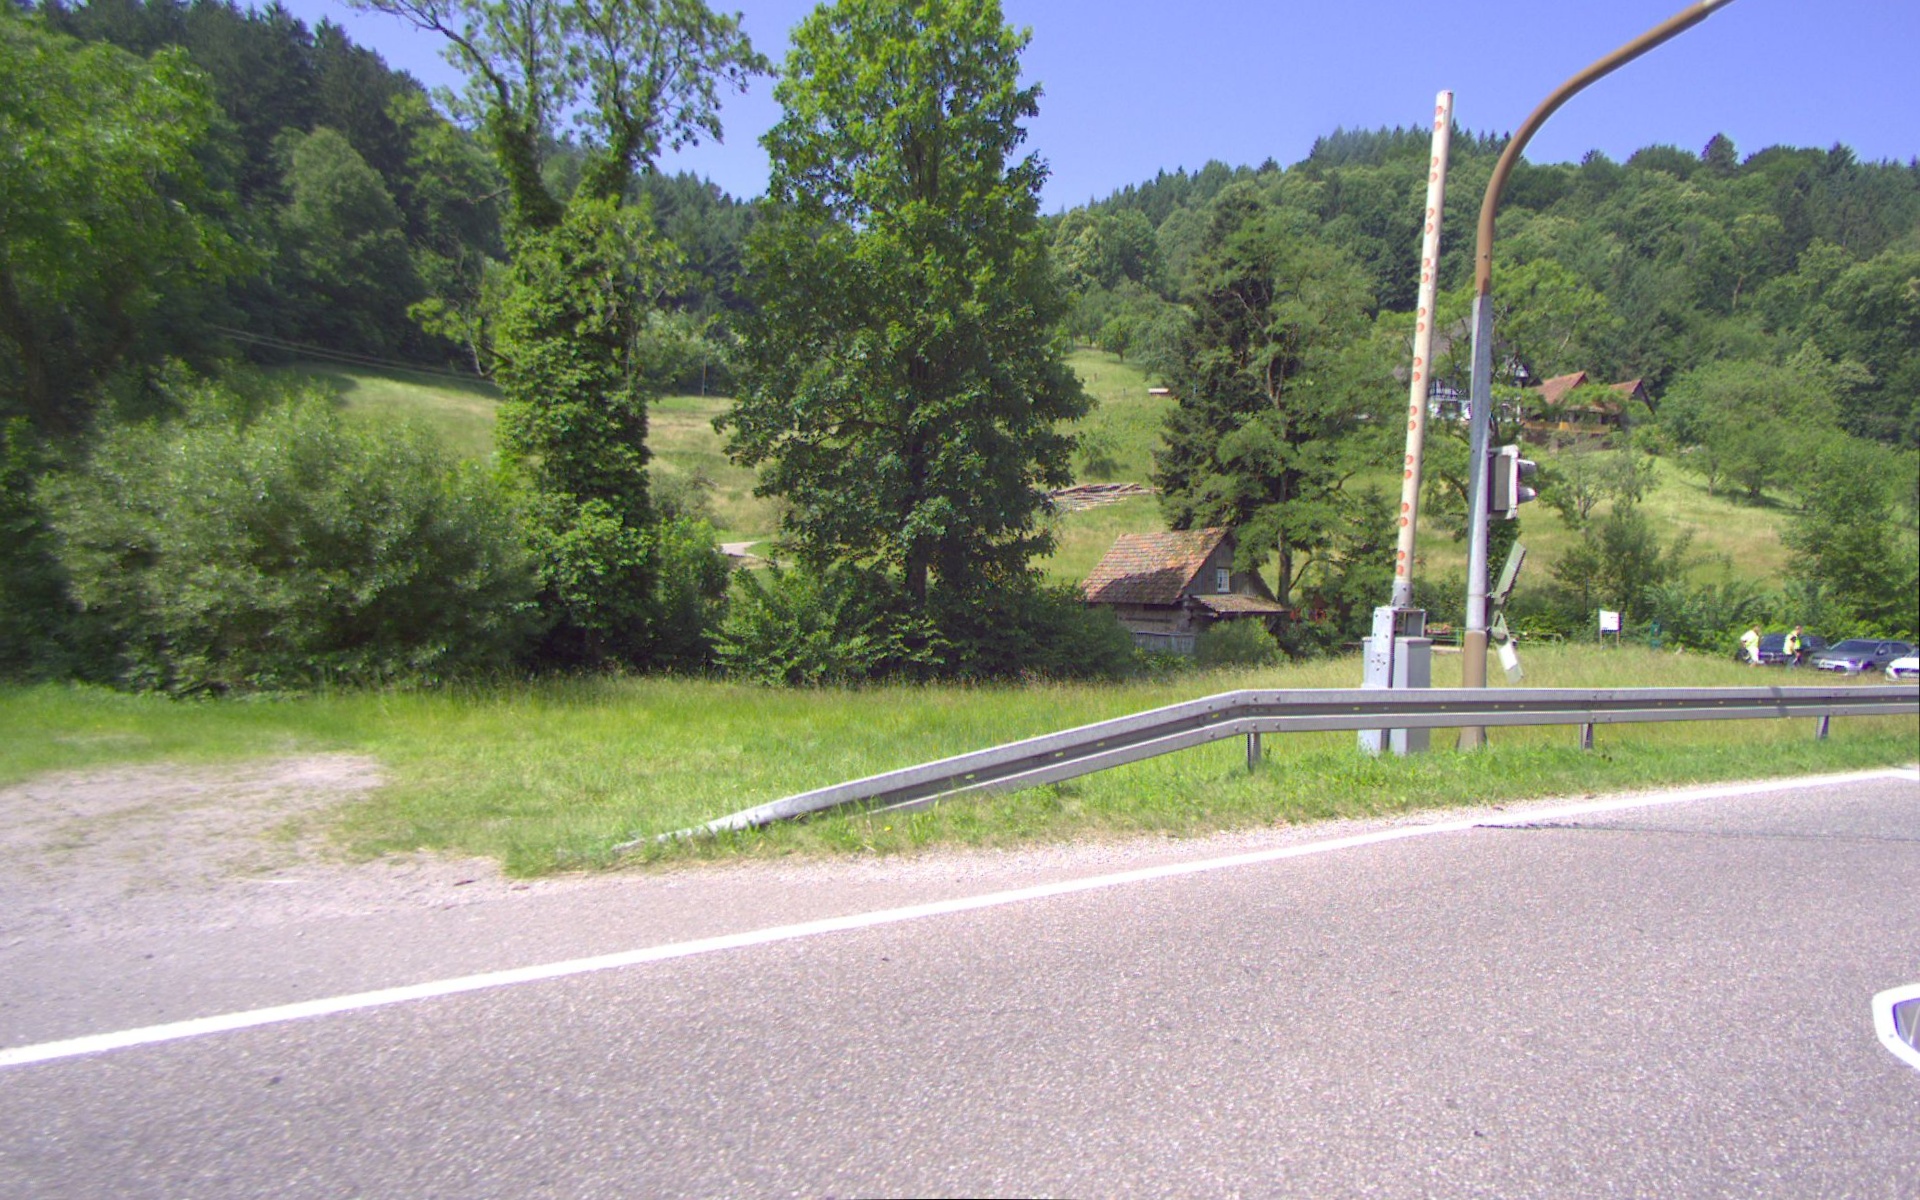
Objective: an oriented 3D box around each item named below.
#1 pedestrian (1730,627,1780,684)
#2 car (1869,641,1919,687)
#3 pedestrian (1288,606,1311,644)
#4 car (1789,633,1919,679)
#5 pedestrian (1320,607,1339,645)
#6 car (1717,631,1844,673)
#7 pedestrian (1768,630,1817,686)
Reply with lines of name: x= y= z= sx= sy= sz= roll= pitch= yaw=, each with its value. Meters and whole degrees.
pedestrian: x=28.230 y=1.957 z=35.696 sx=0.846 sy=1.995 sz=1.128 roll=1 pitch=-1 yaw=-10
car: x=33.938 y=2.231 z=34.747 sx=4.456 sy=1.520 sz=1.990 roll=2 pitch=-2 yaw=-22
pedestrian: x=18.614 y=1.369 z=55.028 sx=0.918 sy=2.040 sz=0.698 roll=2 pitch=-1 yaw=-19
car: x=33.187 y=2.071 z=37.149 sx=4.456 sy=1.521 sz=1.989 roll=2 pitch=1 yaw=-22
pedestrian: x=20.256 y=1.424 z=55.040 sx=0.914 sy=2.040 sz=0.701 roll=1 pitch=-1 yaw=23
car: x=32.211 y=2.046 z=39.442 sx=4.456 sy=1.520 sz=1.990 roll=2 pitch=-2 yaw=-22
pedestrian: x=27.920 y=1.930 z=33.694 sx=0.986 sy=1.818 sz=0.951 roll=2 pitch=-2 yaw=-25
